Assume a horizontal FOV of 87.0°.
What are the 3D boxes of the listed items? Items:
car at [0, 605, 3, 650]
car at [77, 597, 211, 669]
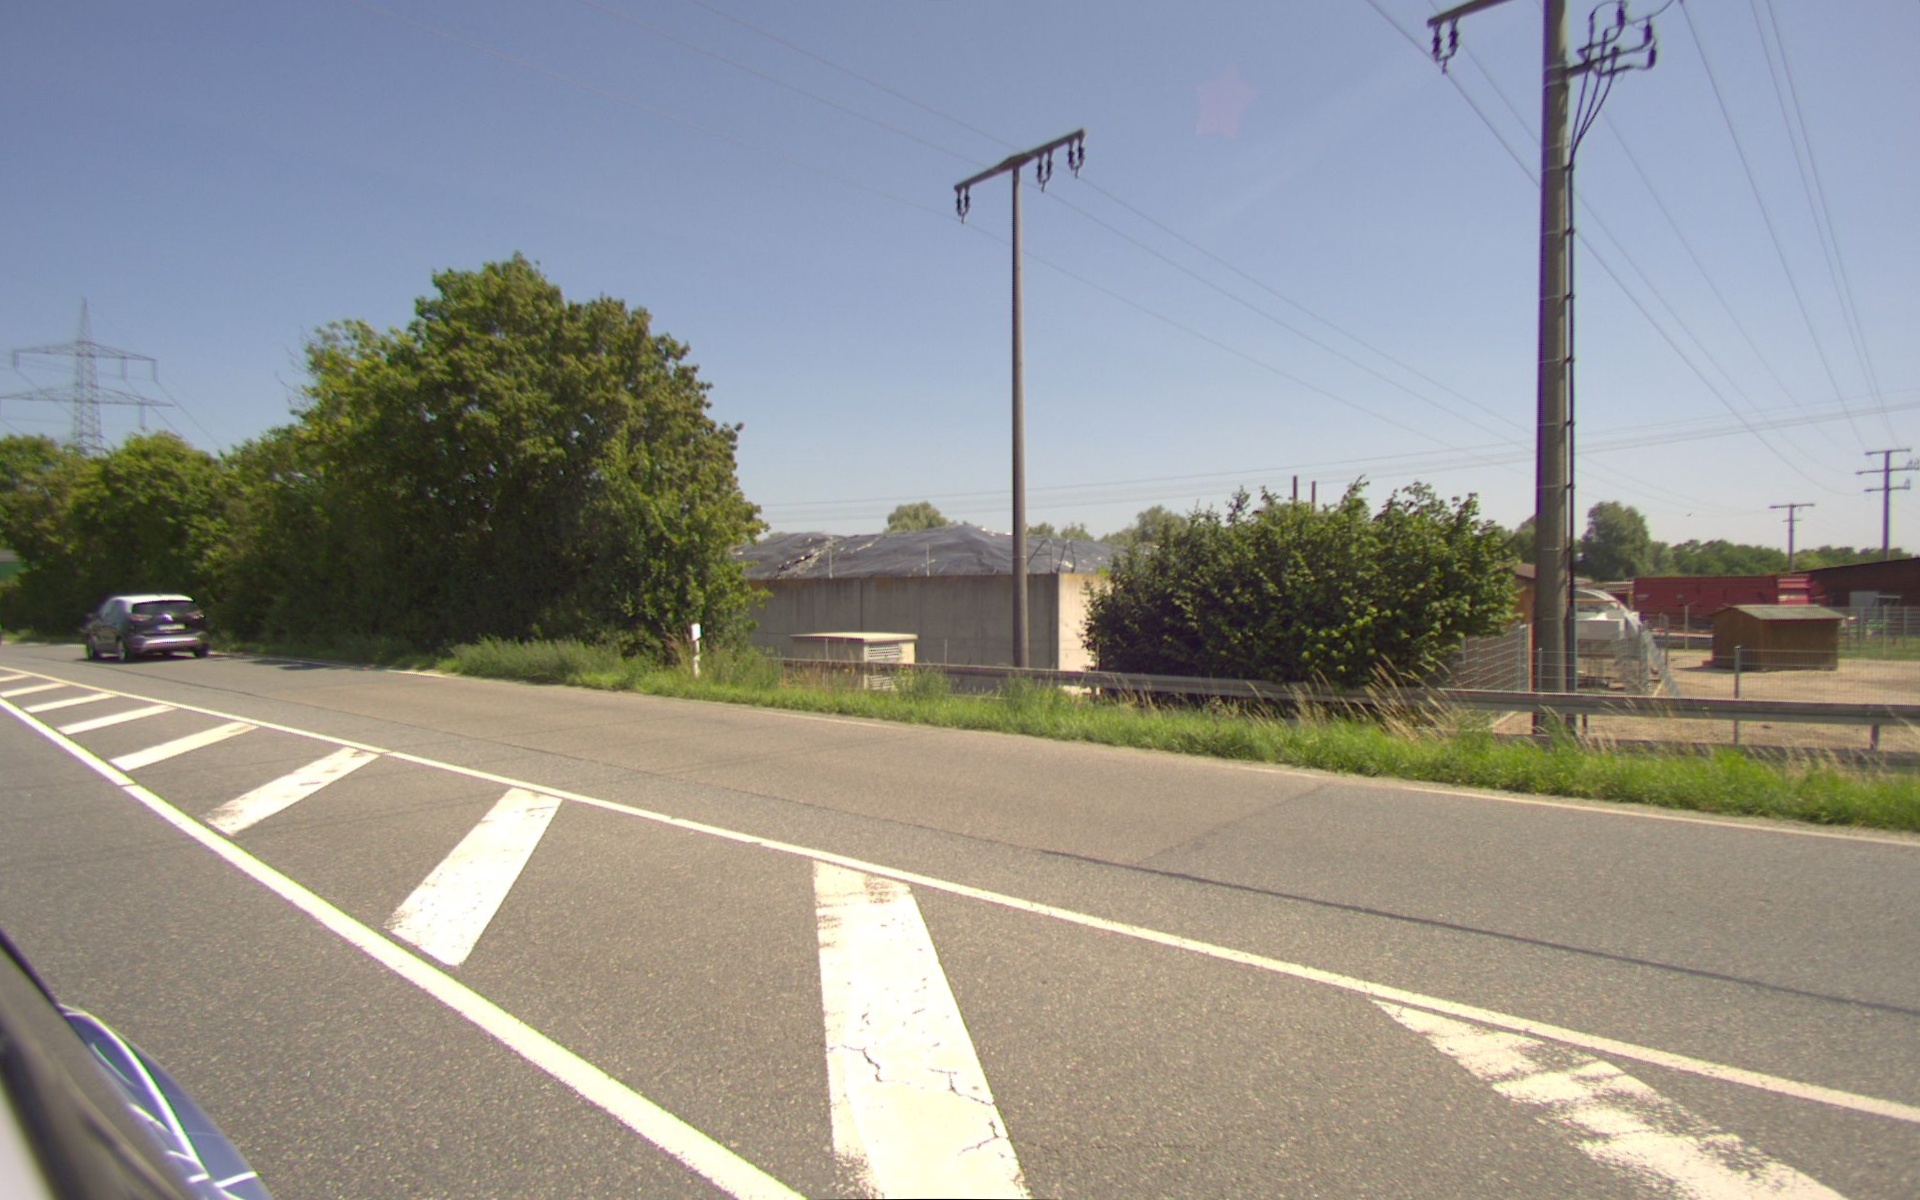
[{"bbox_3d":[-36.466,1.048,36.599,4.518,1.601,1.727,-1,2,34],"label":"car"},{"bbox_3d":[-20.108,0.767,24.904,3.952,1.602,1.716,-1,1,38],"label":"car"}]
